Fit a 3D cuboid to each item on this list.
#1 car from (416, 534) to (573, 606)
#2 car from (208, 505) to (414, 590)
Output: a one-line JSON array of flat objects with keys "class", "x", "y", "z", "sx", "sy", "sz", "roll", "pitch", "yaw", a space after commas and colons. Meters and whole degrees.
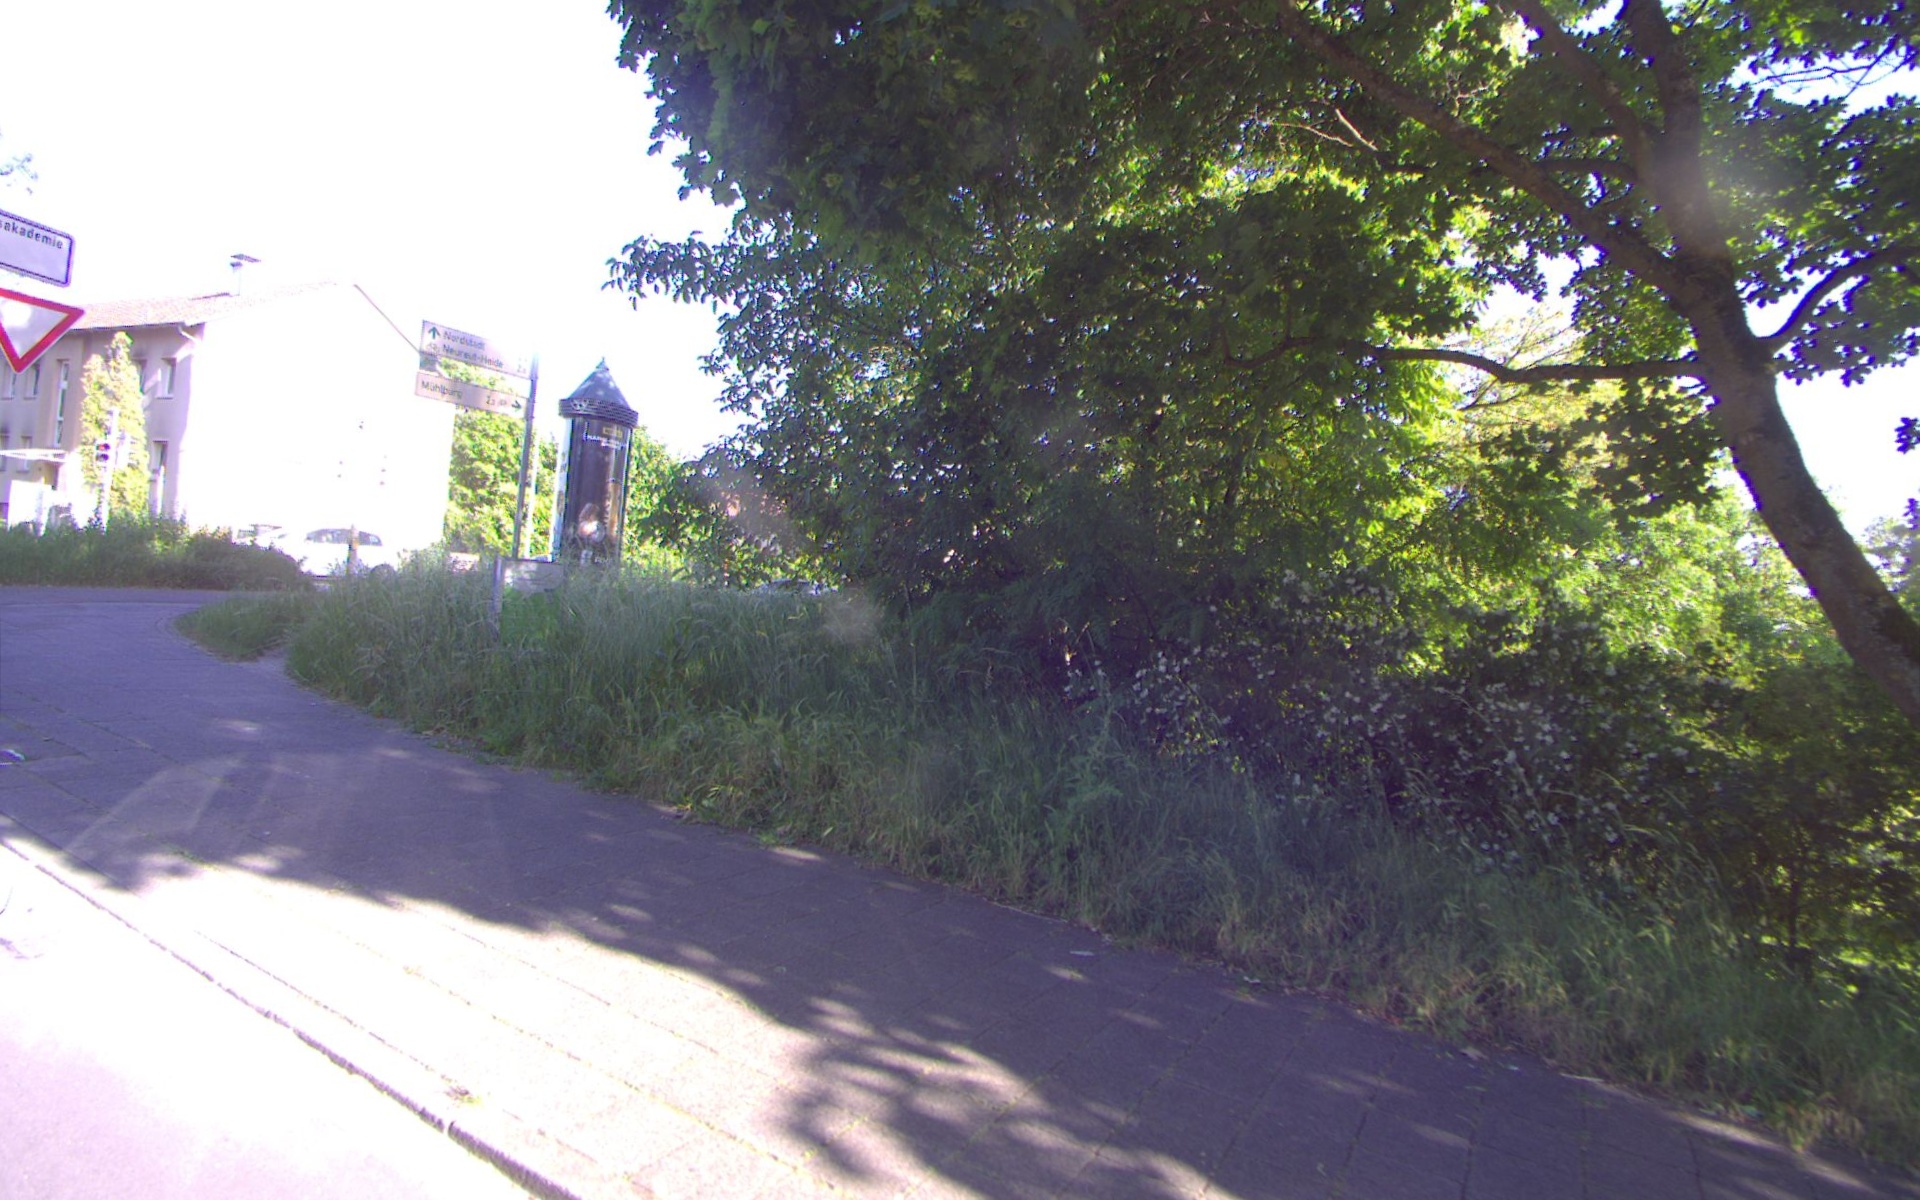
[{"class": "car", "x": -14.232, "y": -0.881, "z": 30.968, "sx": 1.727, "sy": 1.601, "sz": 3.997, "roll": 7, "pitch": -2, "yaw": 29}, {"class": "car", "x": -16.973, "y": -1.326, "z": 26.513, "sx": 1.727, "sy": 1.581, "sz": 4.117, "roll": 7, "pitch": -2, "yaw": 29}]
